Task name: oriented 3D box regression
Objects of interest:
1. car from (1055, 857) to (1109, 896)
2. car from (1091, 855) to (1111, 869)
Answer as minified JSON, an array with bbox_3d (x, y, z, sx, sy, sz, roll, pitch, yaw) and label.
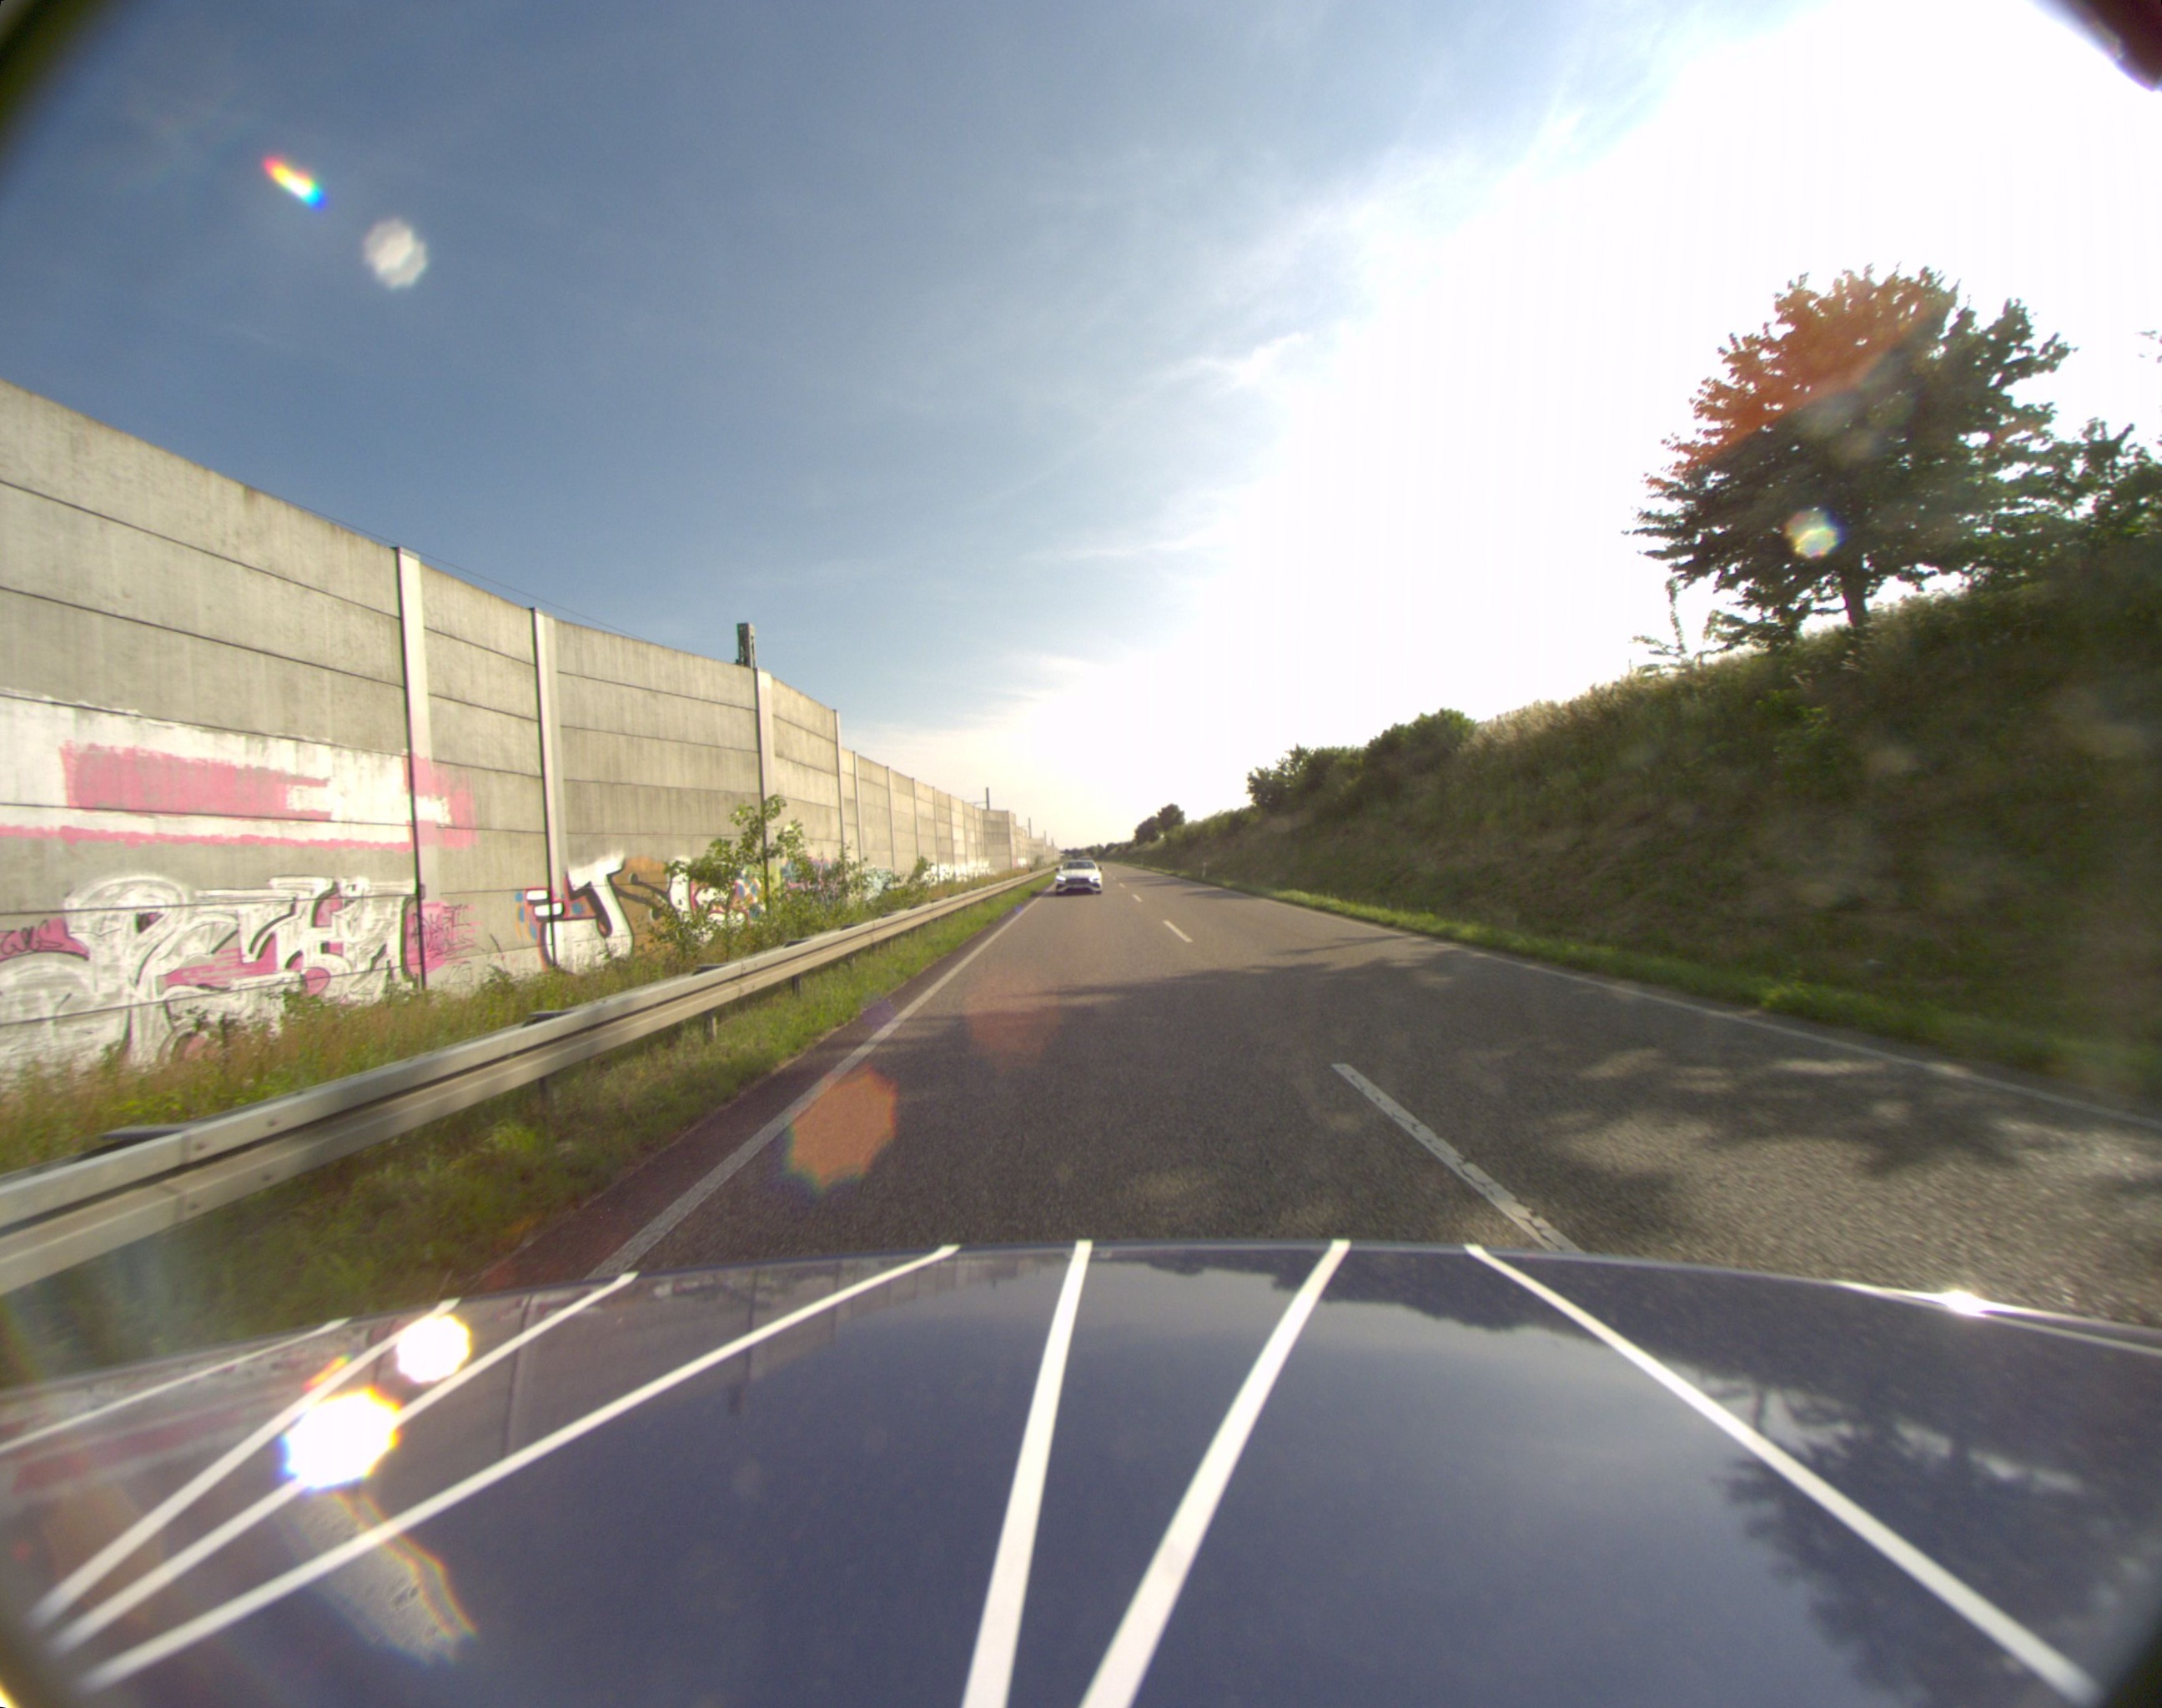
[{"bbox_3d":[-0.042,0.892,32.306,1.930,1.399,4.972,-3,0,-3],"label":"car"},{"bbox_3d":[2.068,0.794,79.008,1.930,1.399,4.974,-1,0,1],"label":"car"}]
